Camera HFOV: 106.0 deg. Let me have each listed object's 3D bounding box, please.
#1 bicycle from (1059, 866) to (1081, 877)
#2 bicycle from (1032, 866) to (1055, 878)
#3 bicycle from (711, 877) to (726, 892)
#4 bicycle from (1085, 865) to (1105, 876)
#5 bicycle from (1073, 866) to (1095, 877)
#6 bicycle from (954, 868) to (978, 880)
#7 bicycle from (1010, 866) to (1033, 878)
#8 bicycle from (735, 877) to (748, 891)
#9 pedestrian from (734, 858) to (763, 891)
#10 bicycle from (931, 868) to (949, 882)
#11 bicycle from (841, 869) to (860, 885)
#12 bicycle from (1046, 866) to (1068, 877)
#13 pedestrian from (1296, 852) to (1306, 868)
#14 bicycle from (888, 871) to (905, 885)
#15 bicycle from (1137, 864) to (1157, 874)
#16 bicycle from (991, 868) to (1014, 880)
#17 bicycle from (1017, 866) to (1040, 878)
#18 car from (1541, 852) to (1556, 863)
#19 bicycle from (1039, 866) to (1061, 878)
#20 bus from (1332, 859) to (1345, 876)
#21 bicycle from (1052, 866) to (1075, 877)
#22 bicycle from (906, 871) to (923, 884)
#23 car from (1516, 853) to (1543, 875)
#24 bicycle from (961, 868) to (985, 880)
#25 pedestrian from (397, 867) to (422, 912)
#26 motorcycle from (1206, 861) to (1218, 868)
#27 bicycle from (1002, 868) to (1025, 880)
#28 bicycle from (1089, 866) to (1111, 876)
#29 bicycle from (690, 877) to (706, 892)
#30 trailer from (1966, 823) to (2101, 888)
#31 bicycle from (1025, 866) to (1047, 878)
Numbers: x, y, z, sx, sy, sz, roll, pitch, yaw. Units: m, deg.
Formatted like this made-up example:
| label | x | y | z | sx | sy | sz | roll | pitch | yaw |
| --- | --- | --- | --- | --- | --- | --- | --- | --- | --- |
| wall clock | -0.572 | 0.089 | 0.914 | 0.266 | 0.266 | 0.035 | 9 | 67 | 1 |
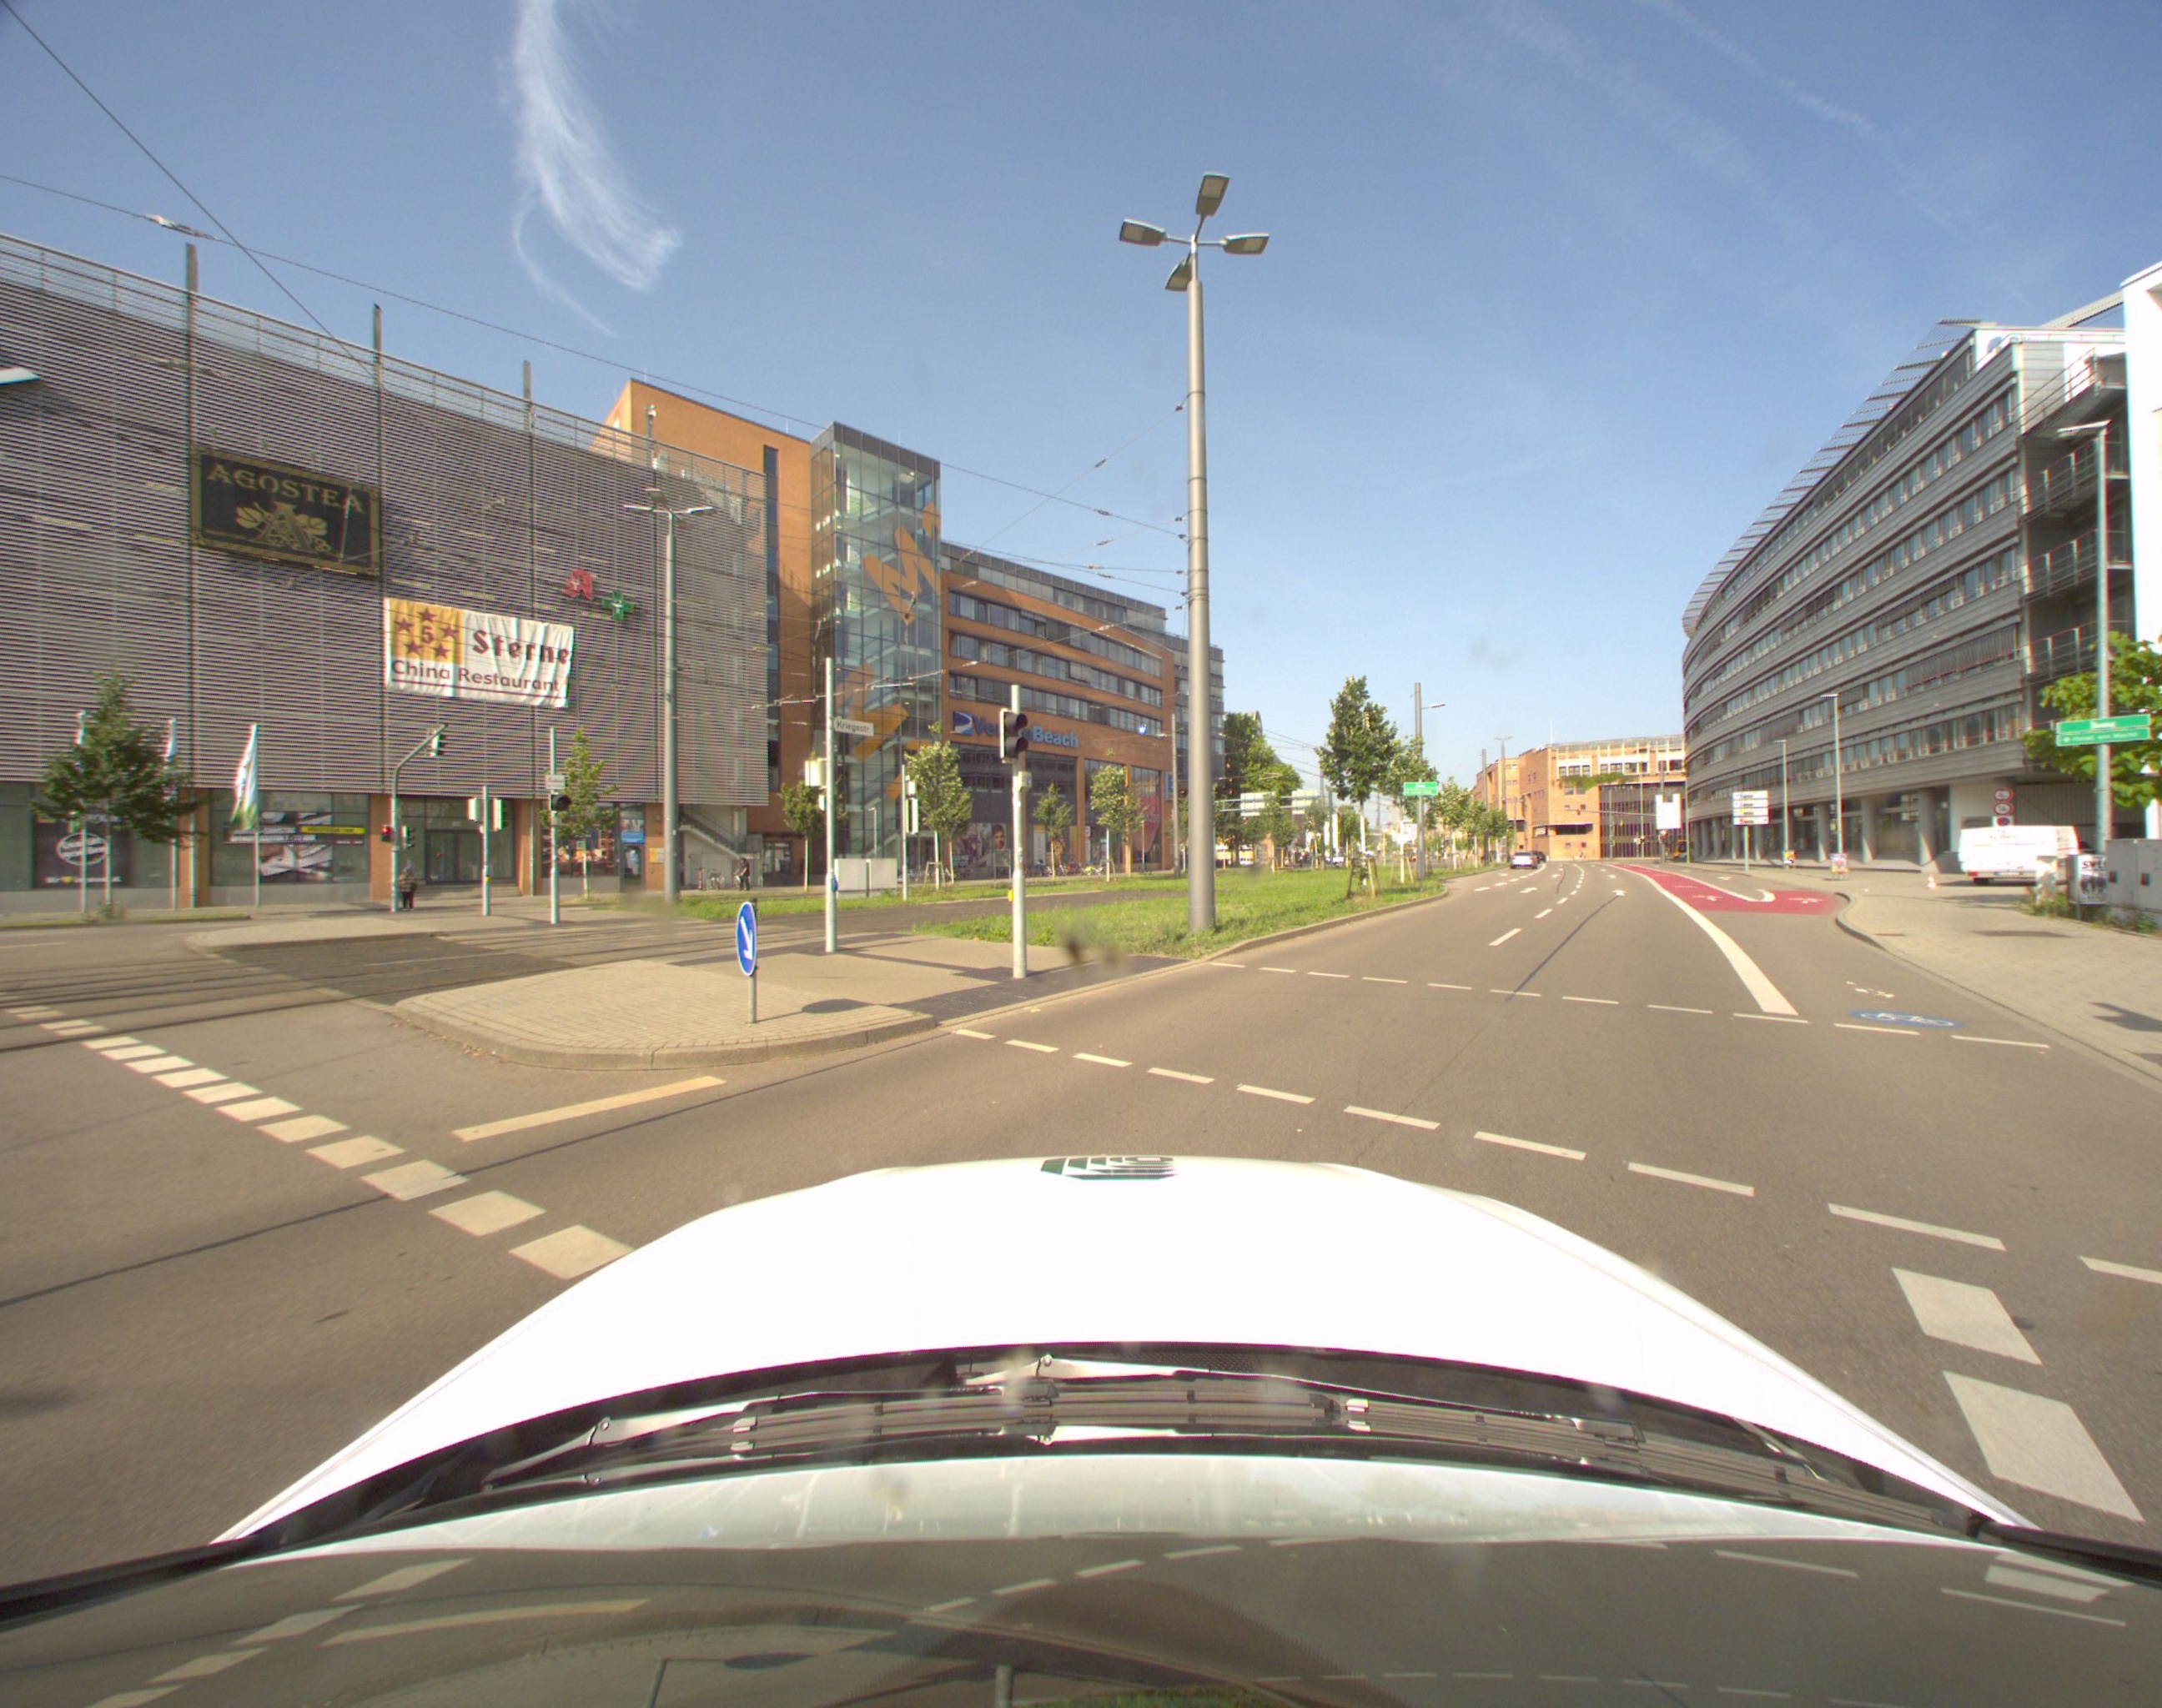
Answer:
| label | x | y | z | sx | sy | sz | roll | pitch | yaw |
| --- | --- | --- | --- | --- | --- | --- | --- | --- | --- |
| bicycle | -0.941 | 1.493 | 70.115 | 2.028 | 0.921 | 0.577 | -1 | -1 | 41 |
| bicycle | -3.084 | 1.501 | 67.299 | 2.028 | 0.921 | 0.577 | -1 | -1 | 41 |
| bicycle | -19.324 | 1.621 | 43.433 | 0.454 | 0.752 | 0.994 | 0 | -1 | -42 |
| bicycle | 1.243 | 1.487 | 72.631 | 2.028 | 0.921 | 0.383 | -1 | -1 | 41 |
| bicycle | 0.275 | 1.502 | 71.286 | 2.028 | 0.921 | 0.577 | -1 | -1 | 41 |
| bicycle | -8.612 | 1.481 | 60.815 | 2.028 | 0.921 | 0.577 | -1 | -1 | 41 |
| bicycle | -4.763 | 1.458 | 65.251 | 2.028 | 0.921 | 0.577 | -1 | -1 | 41 |
| bicycle | -18.444 | 1.609 | 44.246 | 0.363 | 0.752 | 1.012 | 0 | -1 | -42 |
| pedestrian | -17.787 | 1.101 | 43.545 | 1.183 | 1.719 | 0.810 | 0 | -1 | -44 |
| bicycle | -9.520 | 1.424 | 55.010 | 0.413 | 0.940 | 1.565 | 0 | -1 | -43 |
| bicycle | -14.224 | 1.402 | 50.207 | 0.413 | 0.940 | 1.564 | 0 | -1 | -44 |
| bicycle | -2.025 | 1.475 | 68.671 | 2.028 | 0.921 | 0.577 | -1 | -1 | 41 |
| pedestrian | 28.934 | 0.785 | 107.137 | 1.145 | 2.014 | 0.780 | -1 | -2 | 20 |
| bicycle | -11.887 | 1.523 | 52.478 | 1.449 | 0.887 | 0.258 | -2 | -3 | 43 |
| bicycle | 5.638 | 1.298 | 70.037 | 0.714 | 0.907 | 1.660 | 1 | -1 | -44 |
| bicycle | -6.137 | 1.561 | 63.563 | 2.028 | 0.921 | 0.577 | -1 | -1 | 41 |
| bicycle | -4.236 | 1.462 | 65.954 | 2.028 | 0.921 | 0.577 | -1 | -1 | 41 |
| car | 66.084 | 0.469 | 115.079 | 1.756 | 1.509 | 3.541 | -1 | -2 | 28 |
| bicycle | -2.577 | 1.493 | 68.005 | 2.028 | 0.921 | 0.577 | -1 | -1 | 41 |
| bus | 59.947 | 3.202 | 189.621 | 2.724 | 3.922 | 12.271 | -1 | -2 | 18 |
| bicycle | -1.493 | 1.509 | 69.395 | 2.028 | 0.921 | 0.577 | -1 | -1 | 41 |
| bicycle | -10.945 | 1.550 | 53.526 | 1.450 | 0.830 | 0.258 | 1 | 0 | 43 |
| car | 36.150 | 0.841 | 65.615 | 1.688 | 1.756 | 3.914 | -1 | -2 | 31 |
| bicycle | -8.147 | 1.498 | 61.393 | 2.028 | 0.921 | 0.577 | -1 | -1 | 41 |
| pedestrian | -24.175 | 1.262 | 29.334 | 0.754 | 1.579 | 0.593 | -2 | -1 | 42 |
| motorcycle | 19.627 | 1.581 | 122.157 | 1.675 | 0.995 | 0.285 | -1 | 1 | 22 |
| bicycle | -5.344 | 1.553 | 64.618 | 2.028 | 0.921 | 0.577 | -1 | -1 | 41 |
| bicycle | 1.698 | 1.505 | 73.217 | 2.028 | 0.921 | 0.577 | -1 | -1 | 41 |
| bicycle | -20.118 | 1.615 | 42.776 | 0.454 | 0.752 | 0.994 | 0 | -1 | -42 |
| trailer | 34.277 | 0.035 | 29.259 | 5.971 | 2.151 | 2.372 | -1 | -1 | -33 |
| bicycle | -3.687 | 1.475 | 66.598 | 2.028 | 0.921 | 0.577 | -1 | -1 | 41 |
